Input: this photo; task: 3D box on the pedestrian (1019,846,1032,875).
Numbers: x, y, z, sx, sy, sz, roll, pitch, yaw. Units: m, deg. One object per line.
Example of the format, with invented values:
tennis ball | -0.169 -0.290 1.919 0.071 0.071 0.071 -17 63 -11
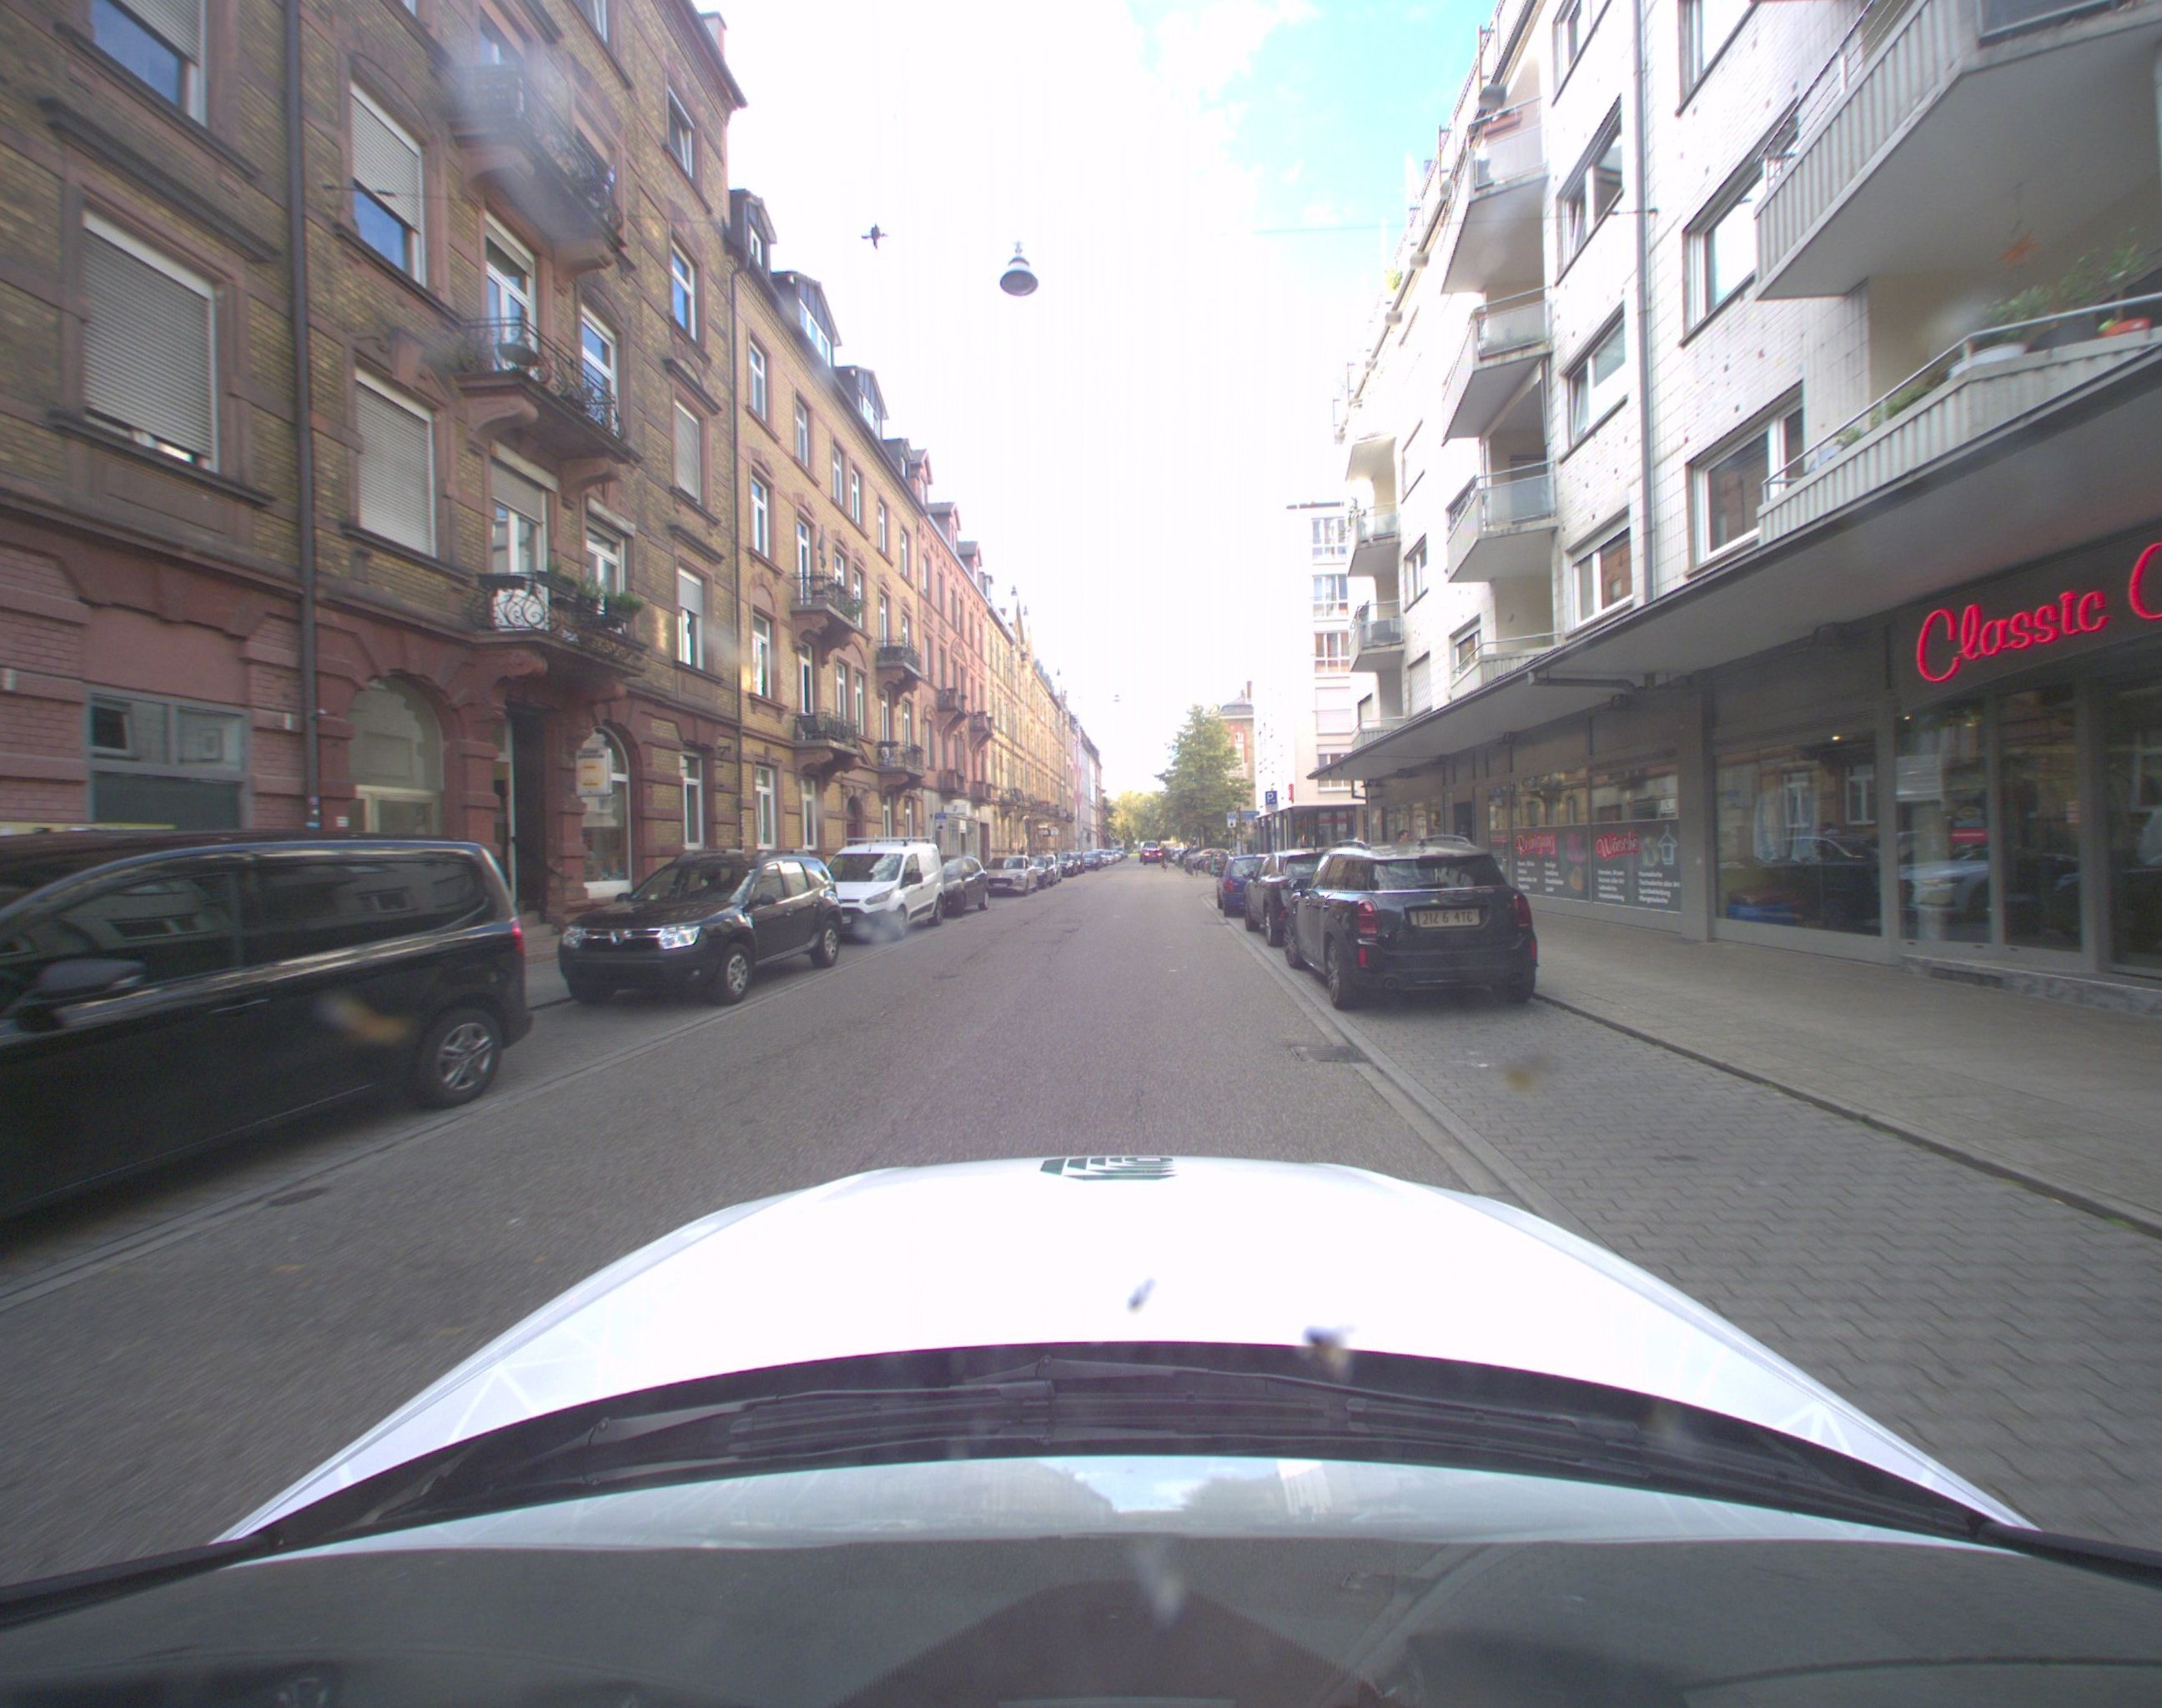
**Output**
pedestrian | -3.669 0.412 53.629 0.685 1.853 0.933 0 0 7

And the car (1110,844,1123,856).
car | 5.254 -0.570 120.759 1.682 1.821 3.872 0 0 5

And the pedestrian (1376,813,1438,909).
pedestrian | 6.190 0.124 15.523 0.610 1.726 1.126 -4 0 0

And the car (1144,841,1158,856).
car | 9.530 -0.795 110.925 1.774 2.020 3.893 0 1 4

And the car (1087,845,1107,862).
car | 1.566 -0.057 77.166 1.682 1.550 3.871 0 0 4

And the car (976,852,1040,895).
car | -2.661 0.679 30.582 1.733 1.483 3.989 0 1 5

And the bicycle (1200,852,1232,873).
bicycle | 7.884 0.509 47.493 1.756 1.099 0.412 -4 0 7

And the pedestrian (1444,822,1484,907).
pedestrian | 8.670 0.230 18.439 0.700 1.860 0.649 -1 0 34

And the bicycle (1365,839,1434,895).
bicycle | 7.949 0.304 20.491 0.914 1.291 2.503 -3 0 6

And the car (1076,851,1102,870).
car | 0.684 0.467 64.907 1.682 1.369 3.873 2 1 5

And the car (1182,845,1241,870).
car | 9.225 0.255 57.704 3.755 1.546 1.727 -3 -1 -6

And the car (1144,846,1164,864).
car | 7.307 0.110 81.322 1.955 1.740 4.047 -1 0 5

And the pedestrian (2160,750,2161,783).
pedestrian | 6.546 0.259 4.227 0.711 1.746 0.818 -4 0 3

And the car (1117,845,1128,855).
car | 6.926 -0.681 135.846 1.682 1.550 3.872 0 0 5

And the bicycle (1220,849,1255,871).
bicycle | 8.494 0.331 44.170 1.756 1.087 0.651 -4 0 7

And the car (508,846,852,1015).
car | -4.524 0.728 10.056 1.985 1.638 4.149 0 0 4

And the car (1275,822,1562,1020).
car | 3.358 0.568 8.969 1.783 1.605 3.931 -4 0 6

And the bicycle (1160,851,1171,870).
bicycle | 5.790 0.461 55.704 0.714 1.274 1.887 0 1 6

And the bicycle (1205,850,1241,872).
bicycle | 7.597 0.380 43.598 1.760 1.056 0.411 -4 0 0

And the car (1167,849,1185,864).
car | 10.553 0.298 90.889 1.921 1.638 4.006 0 1 5

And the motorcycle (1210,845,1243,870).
motorcycle | 9.871 0.228 55.373 2.137 1.530 0.688 -3 0 9

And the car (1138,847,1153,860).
car | 7.714 -0.064 97.590 1.789 1.472 3.893 0 1 4

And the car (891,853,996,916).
car | -3.461 0.712 21.244 1.733 1.483 3.989 0 0 5

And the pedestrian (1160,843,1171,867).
pedestrian | 5.794 0.085 55.755 0.714 1.650 0.932 0 0 6

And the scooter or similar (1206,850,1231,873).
scooter or similar | 7.274 0.399 42.999 1.193 1.147 0.381 -3 1 37

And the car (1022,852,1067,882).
car | -1.745 0.593 39.789 1.682 1.386 3.873 0 1 5

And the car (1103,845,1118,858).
car | 3.772 -0.322 104.312 1.682 1.550 3.872 0 0 5

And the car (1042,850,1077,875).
car | -1.244 0.494 48.533 1.682 1.386 3.873 0 1 5

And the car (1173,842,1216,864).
car | 11.023 -0.126 78.727 3.963 1.683 1.742 -3 8 9

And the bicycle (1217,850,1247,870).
bicycle | 9.369 0.377 50.465 1.723 1.159 0.501 -4 0 6

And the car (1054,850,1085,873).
car | -0.711 0.479 54.667 1.682 1.437 3.873 0 1 5

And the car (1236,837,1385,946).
car | 3.808 0.558 14.161 1.681 1.577 3.906 -2 0 4

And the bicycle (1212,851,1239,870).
bicycle | 9.548 0.409 53.705 1.655 1.159 0.558 -4 0 6

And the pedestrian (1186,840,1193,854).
pedestrian | 17.754 -1.109 133.178 0.990 2.230 0.900 0 0 6

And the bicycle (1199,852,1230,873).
bicycle | 8.070 0.490 49.165 1.784 1.159 0.501 -4 0 7

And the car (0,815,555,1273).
car | -5.009 0.728 4.021 1.752 1.773 4.410 0 0 4

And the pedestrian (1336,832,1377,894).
pedestrian | 7.206 0.236 21.337 0.819 1.588 0.782 -2 0 7

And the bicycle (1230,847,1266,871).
bicycle | 8.827 0.267 43.091 1.756 1.162 0.651 -4 0 7

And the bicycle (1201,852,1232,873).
bicycle | 8.013 0.501 48.231 1.756 1.118 0.412 -4 0 7

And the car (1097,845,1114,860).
car | 2.665 -0.148 89.041 1.682 1.550 3.872 0 0 5

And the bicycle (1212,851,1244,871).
bicycle | 8.935 0.421 49.501 1.777 1.159 0.503 -3 0 31

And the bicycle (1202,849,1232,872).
bicycle | 7.517 0.365 44.995 1.490 1.146 0.411 -4 0 0

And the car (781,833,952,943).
car | -4.036 0.564 16.189 1.911 1.871 4.442 -1 1 4

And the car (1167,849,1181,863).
car | 10.886 0.228 95.424 1.681 1.550 3.694 0 0 6

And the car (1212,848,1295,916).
car | 4.160 0.619 20.166 1.587 1.439 4.037 -2 0 6

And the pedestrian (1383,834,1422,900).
pedestrian | 8.056 0.320 20.427 0.640 1.588 0.782 -3 0 7

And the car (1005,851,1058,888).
car | -2.097 0.630 35.617 1.733 1.483 3.989 0 1 5
